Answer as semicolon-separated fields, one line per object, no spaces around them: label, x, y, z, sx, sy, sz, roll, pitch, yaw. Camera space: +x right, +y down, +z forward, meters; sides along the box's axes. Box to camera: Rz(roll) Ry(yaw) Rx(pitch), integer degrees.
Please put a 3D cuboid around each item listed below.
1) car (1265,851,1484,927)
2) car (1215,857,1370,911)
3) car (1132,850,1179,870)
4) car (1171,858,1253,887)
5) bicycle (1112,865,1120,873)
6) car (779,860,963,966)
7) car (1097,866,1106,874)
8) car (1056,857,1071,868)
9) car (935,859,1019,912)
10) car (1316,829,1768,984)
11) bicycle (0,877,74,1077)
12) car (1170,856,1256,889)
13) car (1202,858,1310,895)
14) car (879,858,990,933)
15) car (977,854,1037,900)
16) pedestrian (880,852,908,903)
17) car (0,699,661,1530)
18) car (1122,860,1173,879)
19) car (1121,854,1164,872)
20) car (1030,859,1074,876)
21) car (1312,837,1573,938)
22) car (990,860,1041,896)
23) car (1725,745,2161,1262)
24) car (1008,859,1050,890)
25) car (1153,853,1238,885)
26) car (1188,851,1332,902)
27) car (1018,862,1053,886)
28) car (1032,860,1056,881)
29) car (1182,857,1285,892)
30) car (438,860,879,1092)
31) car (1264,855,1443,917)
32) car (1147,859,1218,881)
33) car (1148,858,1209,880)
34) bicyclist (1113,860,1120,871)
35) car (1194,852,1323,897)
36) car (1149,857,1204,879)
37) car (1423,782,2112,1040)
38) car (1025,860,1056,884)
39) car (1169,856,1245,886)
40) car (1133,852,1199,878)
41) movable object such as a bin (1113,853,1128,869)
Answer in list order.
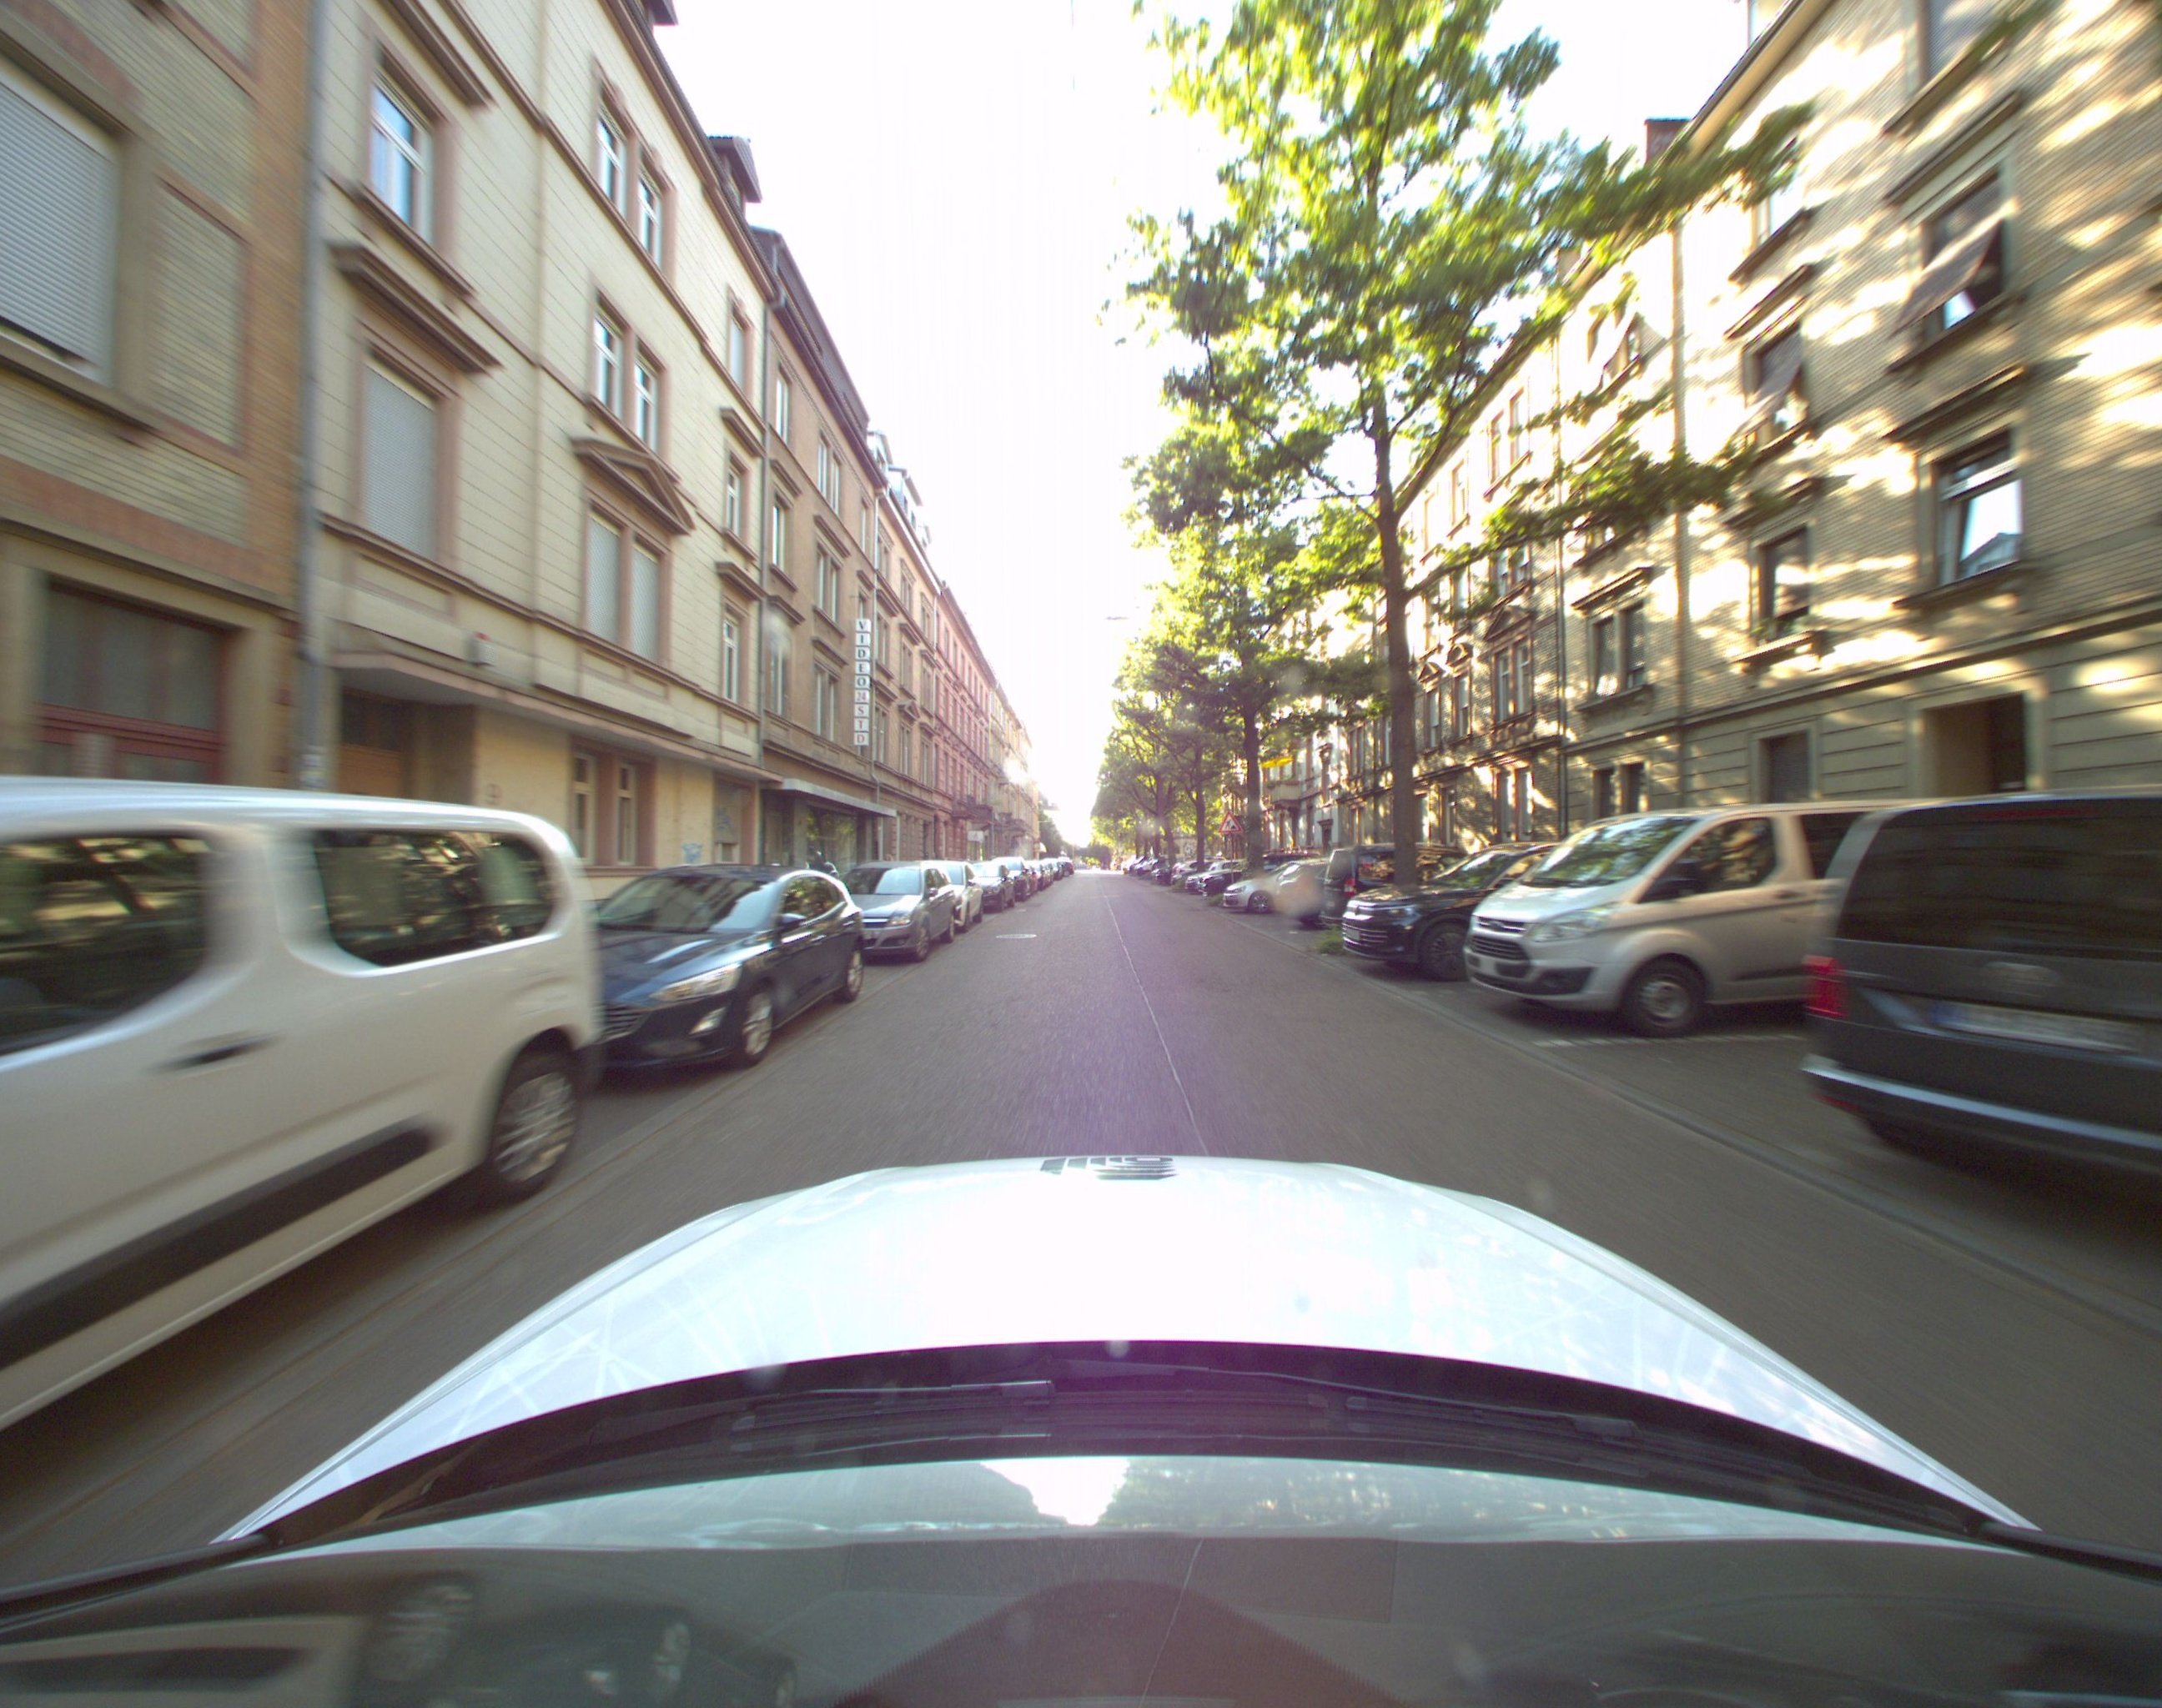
car;6.395;0.741;18.084;4.132;1.455;1.936;-2;0;-1
car;5.884;0.829;22.992;3.972;1.456;1.687;0;-1;1
car;7.521;0.571;82.759;4.603;2.014;1.998;0;-1;-2
car;6.894;0.963;43.118;3.978;1.462;1.780;0;-1;-3
bicycle;4.325;1.812;100.619;0.800;0.968;2.108;1;-1;0
car;-3.192;0.823;13.387;1.880;1.444;4.540;0;0;-1
car;4.065;3.258;163.307;1.743;1.509;4.000;0;-1;0
car;-2.184;1.075;102.696;1.759;1.437;4.299;0;-1;-1
car;-3.039;0.876;24.662;1.855;1.472;4.490;0;0;2
car;5.937;0.631;10.926;4.908;1.632;2.076;-3;0;-3
bicycle;-7.173;0.791;4.290;0.627;1.280;2.664;0;0;-6
car;6.514;0.907;40.408;3.974;1.388;1.677;-3;-1;-1
car;7.116;0.908;33.358;4.085;1.470;1.802;0;0;1
car;-3.134;0.838;18.217;1.751;1.472;4.087;0;0;0
car;-2.767;0.840;31.239;1.815;1.600;4.313;1;0;1
pedestrian;-6.117;0.768;26.665;0.693;1.631;1.018;0;-1;-1
car;-3.297;0.567;2.274;1.836;1.833;4.605;1;0;0
car;5.621;1.321;68.965;3.983;1.475;1.777;-1;-1;-7
car;7.192;1.090;95.686;4.957;2.096;2.105;0;-1;0
car;-2.683;1.254;74.436;3.981;1.530;1.822;0;-1;-6
car;6.684;0.594;15.431;4.109;1.788;1.946;0;0;2
car;-2.792;1.011;35.807;1.815;1.426;4.313;1;0;1
car;5.943;0.496;4.286;4.681;1.890;1.894;-1;0;-21
car;-2.648;1.024;42.353;1.815;1.477;4.423;1;0;1
car;6.702;0.854;48.020;4.634;1.702;1.879;-2;0;-3
car;5.894;0.754;27.276;4.458;1.656;1.892;0;-2;2
car;-2.593;1.142;47.228;1.699;1.323;4.101;0;0;1
car;-2.651;1.178;58.844;1.576;1.473;4.000;0;0;0
car;6.700;0.894;36.026;4.212;1.536;1.799;0;0;-3
car;-3.228;0.796;7.340;1.741;1.473;4.243;0;0;0
car;6.803;0.780;20.572;3.977;1.495;1.685;0;-1;-3
car;6.966;1.096;56.099;4.648;1.503;1.930;0;-1;-3
car;6.945;1.074;58.277;4.097;1.503;1.808;0;-1;-4
bicyclist;4.328;1.454;100.579;0.800;1.383;0.985;1;-1;0
car;6.614;0.781;30.676;4.462;1.656;1.890;0;-2;-1
car;7.122;1.027;60.852;3.877;1.649;1.722;0;-1;-5
car;6.237;0.455;7.878;4.908;1.901;2.174;-3;0;-3
car;-2.572;1.113;51.908;1.699;1.439;3.959;0;0;1
car;7.026;0.947;45.714;3.978;1.590;1.780;0;-1;-3
car;6.758;0.904;65.269;5.074;1.940;2.158;0;-4;0
movable object such as a bin;6.652;1.143;135.875;1.979;2.700;3.121;0;-1;14
